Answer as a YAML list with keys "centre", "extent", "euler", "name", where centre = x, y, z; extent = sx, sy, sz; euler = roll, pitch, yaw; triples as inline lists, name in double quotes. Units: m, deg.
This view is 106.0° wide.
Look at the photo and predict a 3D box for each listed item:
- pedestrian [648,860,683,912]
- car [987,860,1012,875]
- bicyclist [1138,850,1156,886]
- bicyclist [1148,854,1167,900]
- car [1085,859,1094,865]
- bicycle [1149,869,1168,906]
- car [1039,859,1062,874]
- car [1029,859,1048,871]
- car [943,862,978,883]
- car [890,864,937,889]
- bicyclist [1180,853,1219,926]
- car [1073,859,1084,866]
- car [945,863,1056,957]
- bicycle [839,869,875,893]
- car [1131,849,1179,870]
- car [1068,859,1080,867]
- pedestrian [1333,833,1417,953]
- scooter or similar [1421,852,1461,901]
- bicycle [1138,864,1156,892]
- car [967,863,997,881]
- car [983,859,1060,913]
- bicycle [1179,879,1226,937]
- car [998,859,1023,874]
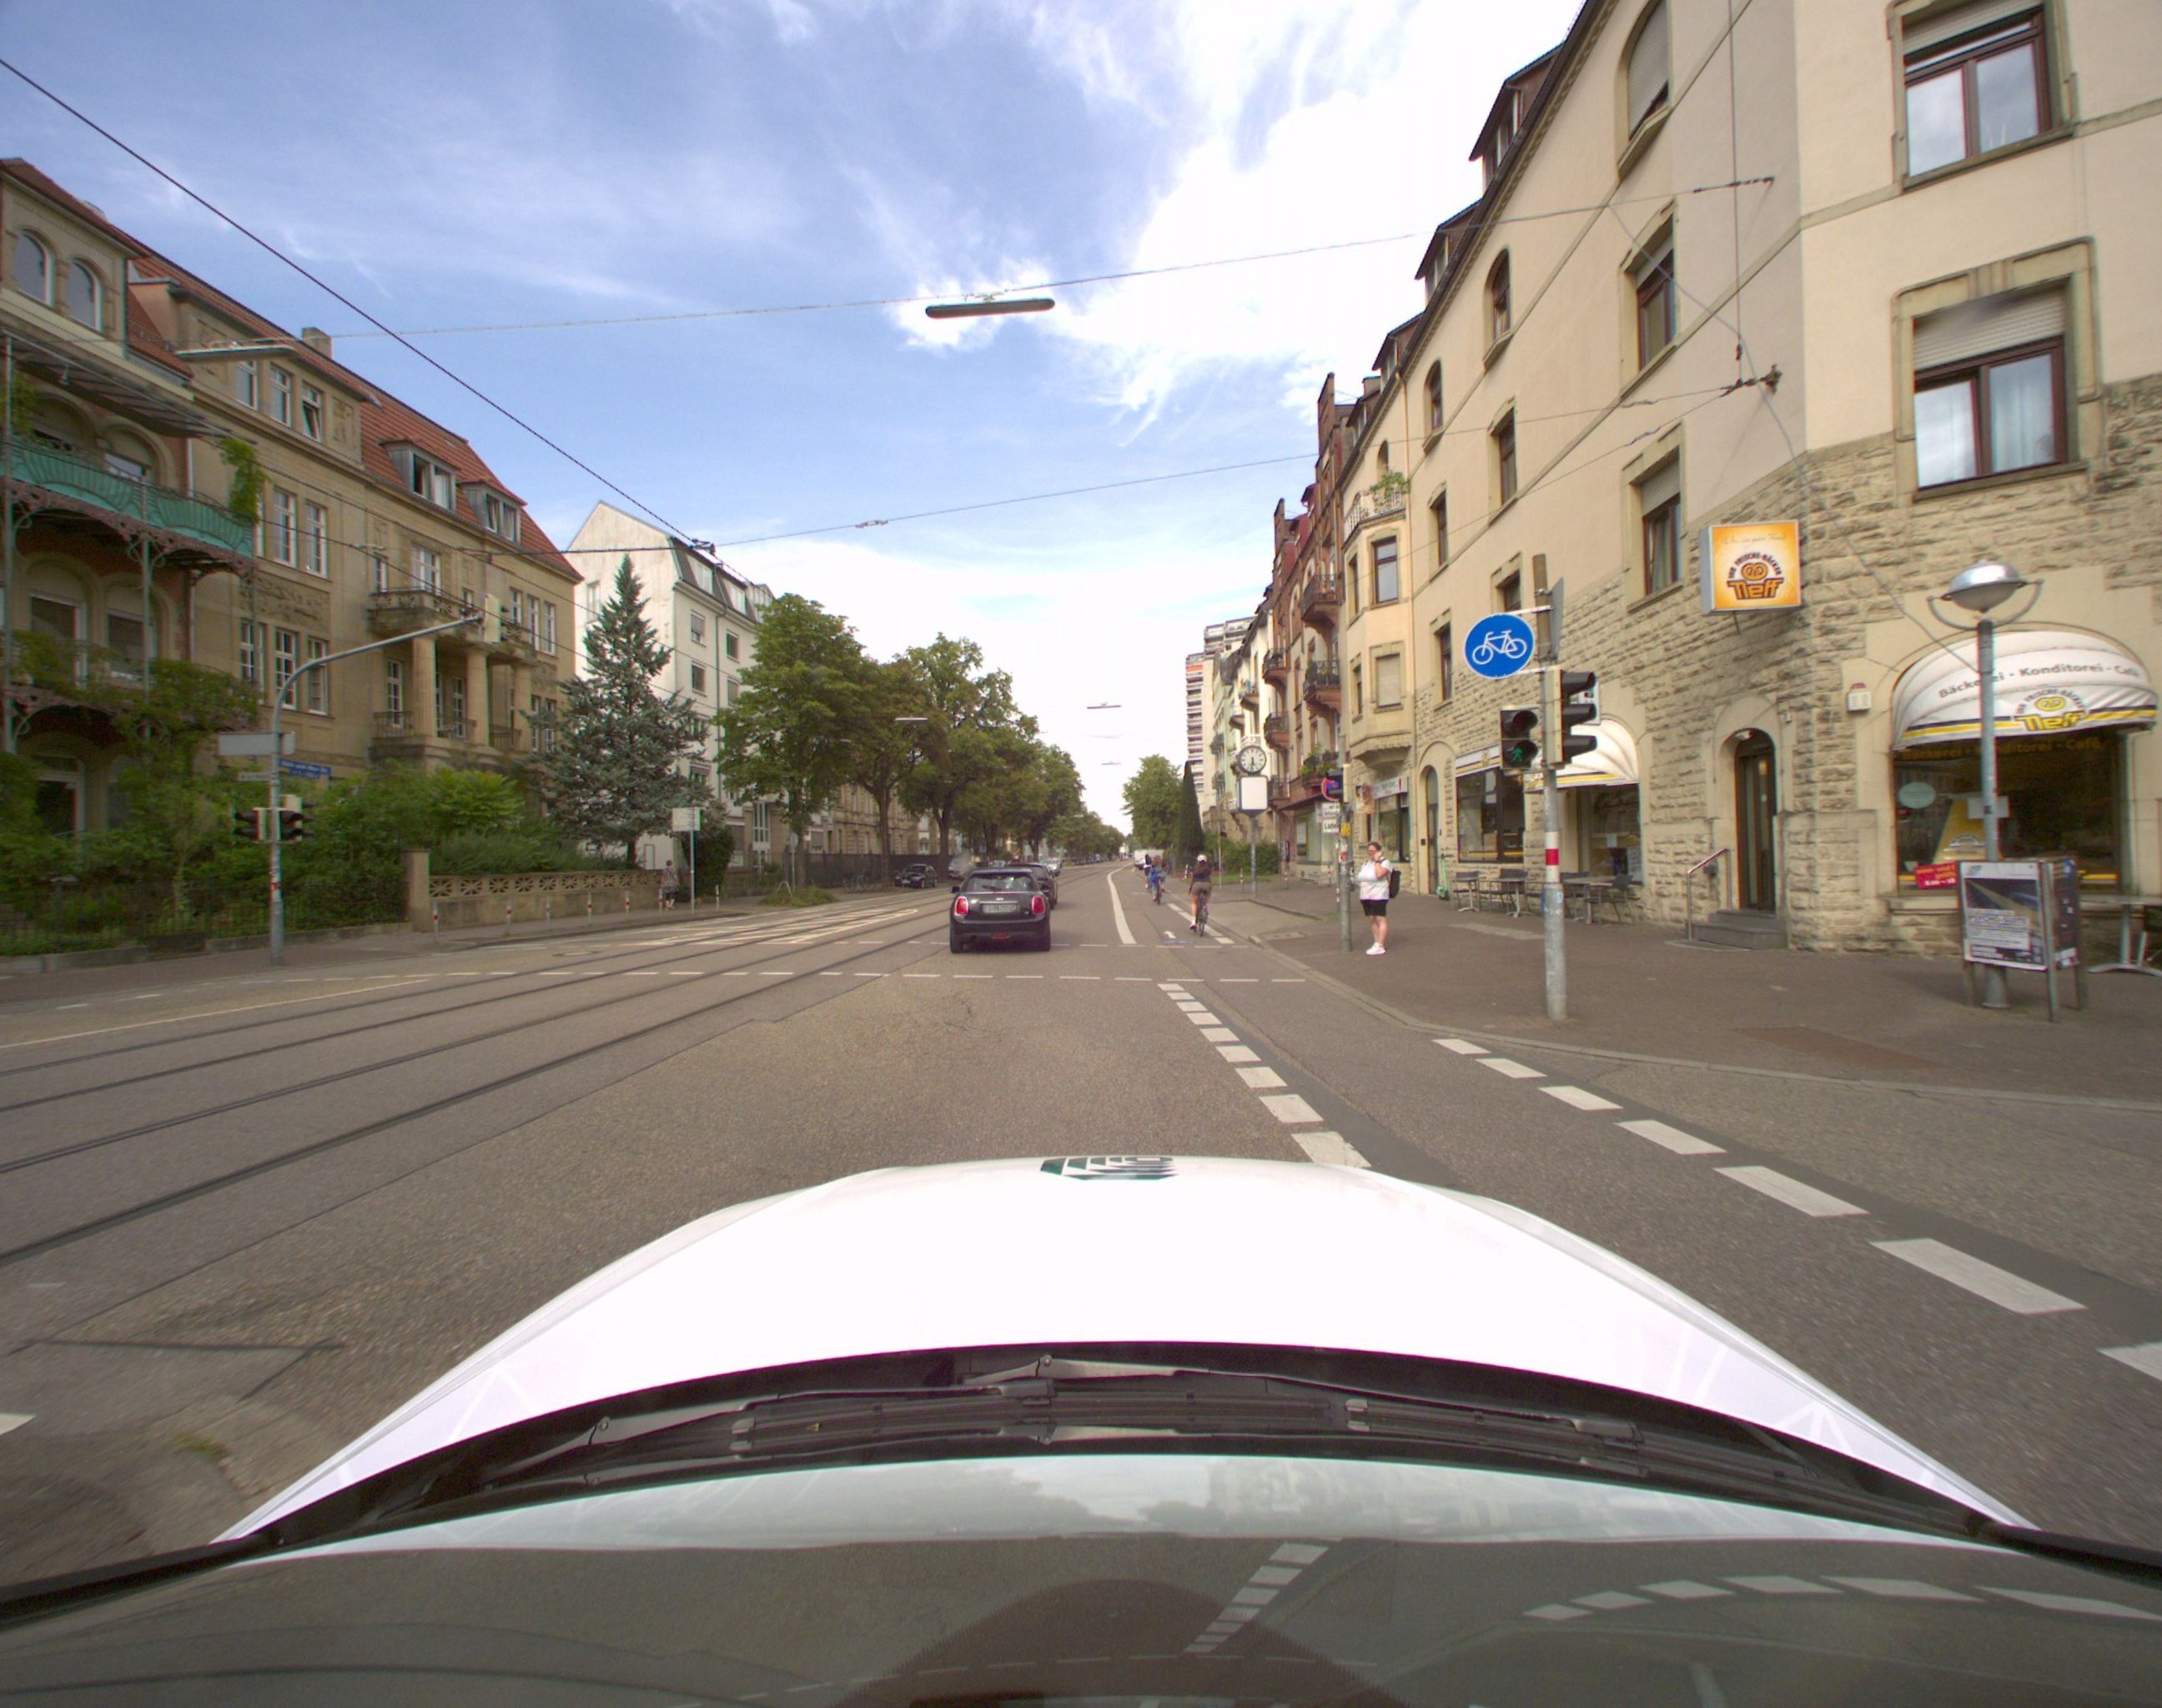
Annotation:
- centre: [-14.718, 1.115, 28.872]
  extent: [0.727, 1.783, 0.836]
  euler: [-2, 0, 5]
  name: "pedestrian"
- centre: [-7.952, 1.274, 79.704]
  extent: [1.759, 1.395, 4.004]
  euler: [-2, 0, 4]
  name: "car"
- centre: [2.967, 0.622, 36.535]
  extent: [0.680, 1.564, 1.000]
  euler: [-2, 0, 6]
  name: "bicyclist"
- centre: [2.656, 0.784, 28.335]
  extent: [0.591, 1.550, 1.015]
  euler: [-2, 0, 5]
  name: "bicyclist"
- centre: [2.080, 2.040, 203.675]
  extent: [1.984, 1.552, 4.005]
  euler: [-2, 0, 5]
  name: "car"
- centre: [2.676, 1.146, 28.377]
  extent: [0.595, 1.170, 1.699]
  euler: [-2, 0, 5]
  name: "bicycle"
- centre: [-2.892, 1.178, 78.109]
  extent: [1.759, 1.395, 4.004]
  euler: [-2, 0, 4]
  name: "car"
- centre: [-5.819, 1.508, 111.039]
  extent: [1.984, 1.552, 4.005]
  euler: [-2, 0, 5]
  name: "car"
- centre: [-9.027, 1.373, 61.390]
  extent: [1.759, 1.395, 4.004]
  euler: [-2, 0, 4]
  name: "car"
- centre: [-10.086, 1.347, 49.394]
  extent: [1.759, 1.395, 4.004]
  euler: [-2, 0, 4]
  name: "car"
- centre: [2.503, 0.730, 17.269]
  extent: [0.613, 1.473, 0.914]
  euler: [-2, 0, -2]
  name: "bicyclist"
- centre: [-0.493, 1.830, 173.824]
  extent: [1.984, 1.552, 4.005]
  euler: [-2, 0, 5]
  name: "car"
- centre: [-1.526, 0.917, 15.182]
  extent: [1.750, 1.441, 3.991]
  euler: [-2, 0, -7]
  name: "car"
- centre: [-11.538, 1.392, 41.997]
  extent: [1.679, 1.119, 0.567]
  euler: [-2, 0, -35]
  name: "bicycle"
- centre: [8.450, 0.590, 92.645]
  extent: [5.062, 2.272, 2.370]
  euler: [-1, 0, -36]
  name: "car"
- centre: [-1.342, 1.751, 163.378]
  extent: [1.984, 1.552, 4.005]
  euler: [-2, 0, 5]
  name: "car"
- centre: [4.413, 0.575, 12.215]
  extent: [0.840, 1.674, 0.724]
  euler: [-5, -1, -39]
  name: "pedestrian"
- centre: [9.185, 0.551, 20.823]
  extent: [0.506, 1.188, 1.263]
  euler: [-2, 0, 5]
  name: "scooter or similar"
- centre: [2.978, 1.079, 36.523]
  extent: [0.680, 1.170, 1.700]
  euler: [-2, 0, 7]
  name: "bicycle"
- centre: [-8.387, 1.497, 69.046]
  extent: [1.759, 1.395, 4.004]
  euler: [-2, 0, 4]
  name: "car"
- centre: [-1.797, 0.938, 25.816]
  extent: [1.919, 1.510, 4.002]
  euler: [-2, 0, 2]
  name: "car"
- centre: [2.521, 1.100, 17.065]
  extent: [0.613, 1.076, 1.819]
  euler: [-2, 0, -2]
  name: "bicycle"
- centre: [-7.637, 1.341, 88.034]
  extent: [1.984, 1.552, 4.005]
  euler: [-2, 0, 5]
  name: "car"
